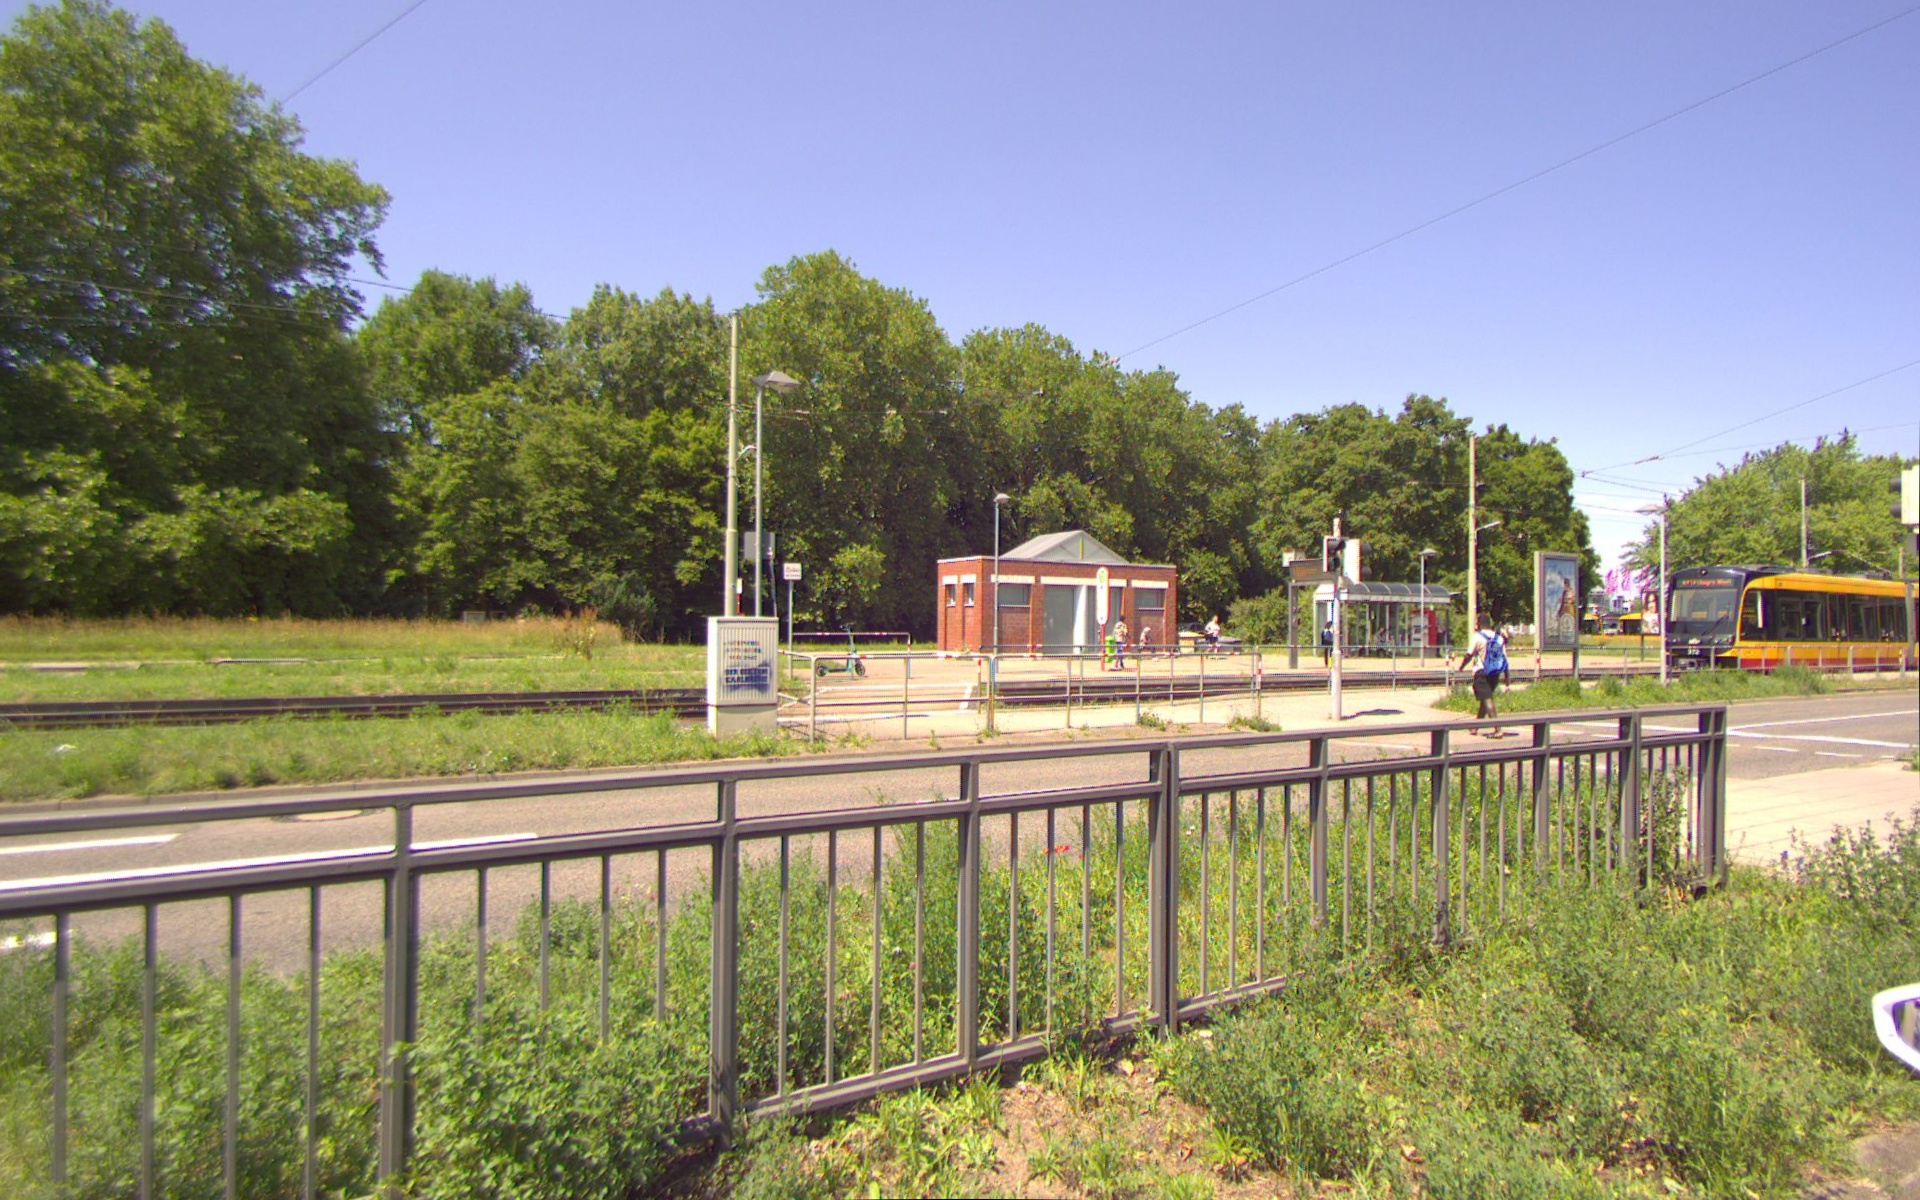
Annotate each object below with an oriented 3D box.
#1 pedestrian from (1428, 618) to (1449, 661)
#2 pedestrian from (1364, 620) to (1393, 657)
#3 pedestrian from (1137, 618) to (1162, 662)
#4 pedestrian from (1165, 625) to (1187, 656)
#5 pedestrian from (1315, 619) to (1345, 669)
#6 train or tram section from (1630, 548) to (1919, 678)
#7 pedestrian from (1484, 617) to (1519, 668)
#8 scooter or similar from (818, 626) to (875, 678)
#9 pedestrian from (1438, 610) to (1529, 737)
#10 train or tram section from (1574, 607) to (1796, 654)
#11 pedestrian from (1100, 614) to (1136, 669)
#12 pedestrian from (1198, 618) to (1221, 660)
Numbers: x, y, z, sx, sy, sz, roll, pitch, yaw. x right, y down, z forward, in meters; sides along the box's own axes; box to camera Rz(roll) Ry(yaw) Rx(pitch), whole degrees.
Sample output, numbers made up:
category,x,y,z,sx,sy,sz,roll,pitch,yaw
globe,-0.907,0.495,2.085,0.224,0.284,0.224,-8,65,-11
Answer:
category,x,y,z,sx,sy,sz,roll,pitch,yaw
pedestrian,20.577,1.674,43.222,0.707,1.824,0.845,0,-1,17
pedestrian,17.245,1.575,41.367,0.710,1.531,0.841,1,-1,-19
pedestrian,6.605,1.389,35.065,0.563,1.499,0.636,1,-1,-30
pedestrian,8.239,1.540,38.339,0.560,1.139,0.639,1,-1,-15
pedestrian,11.925,1.399,32.373,0.688,1.575,0.629,1,-1,-42
train or tram section,34.715,0.700,38.058,29.680,3.799,2.944,1,-1,-31
pedestrian,20.033,1.551,37.147,0.832,1.802,0.714,-1,5,-30
scooter or similar,-2.637,1.205,23.444,1.217,1.183,0.508,1,-1,-30
pedestrian,7.730,1.076,14.856,0.711,1.801,0.836,-1,-3,-30
train or tram section,67.150,2.778,94.308,3.176,3.984,18.419,1,-1,-19
pedestrian,4.693,1.240,29.894,0.799,1.611,0.668,1,-1,-30
pedestrian,8.949,1.394,36.086,0.573,1.476,0.639,1,-1,-11
